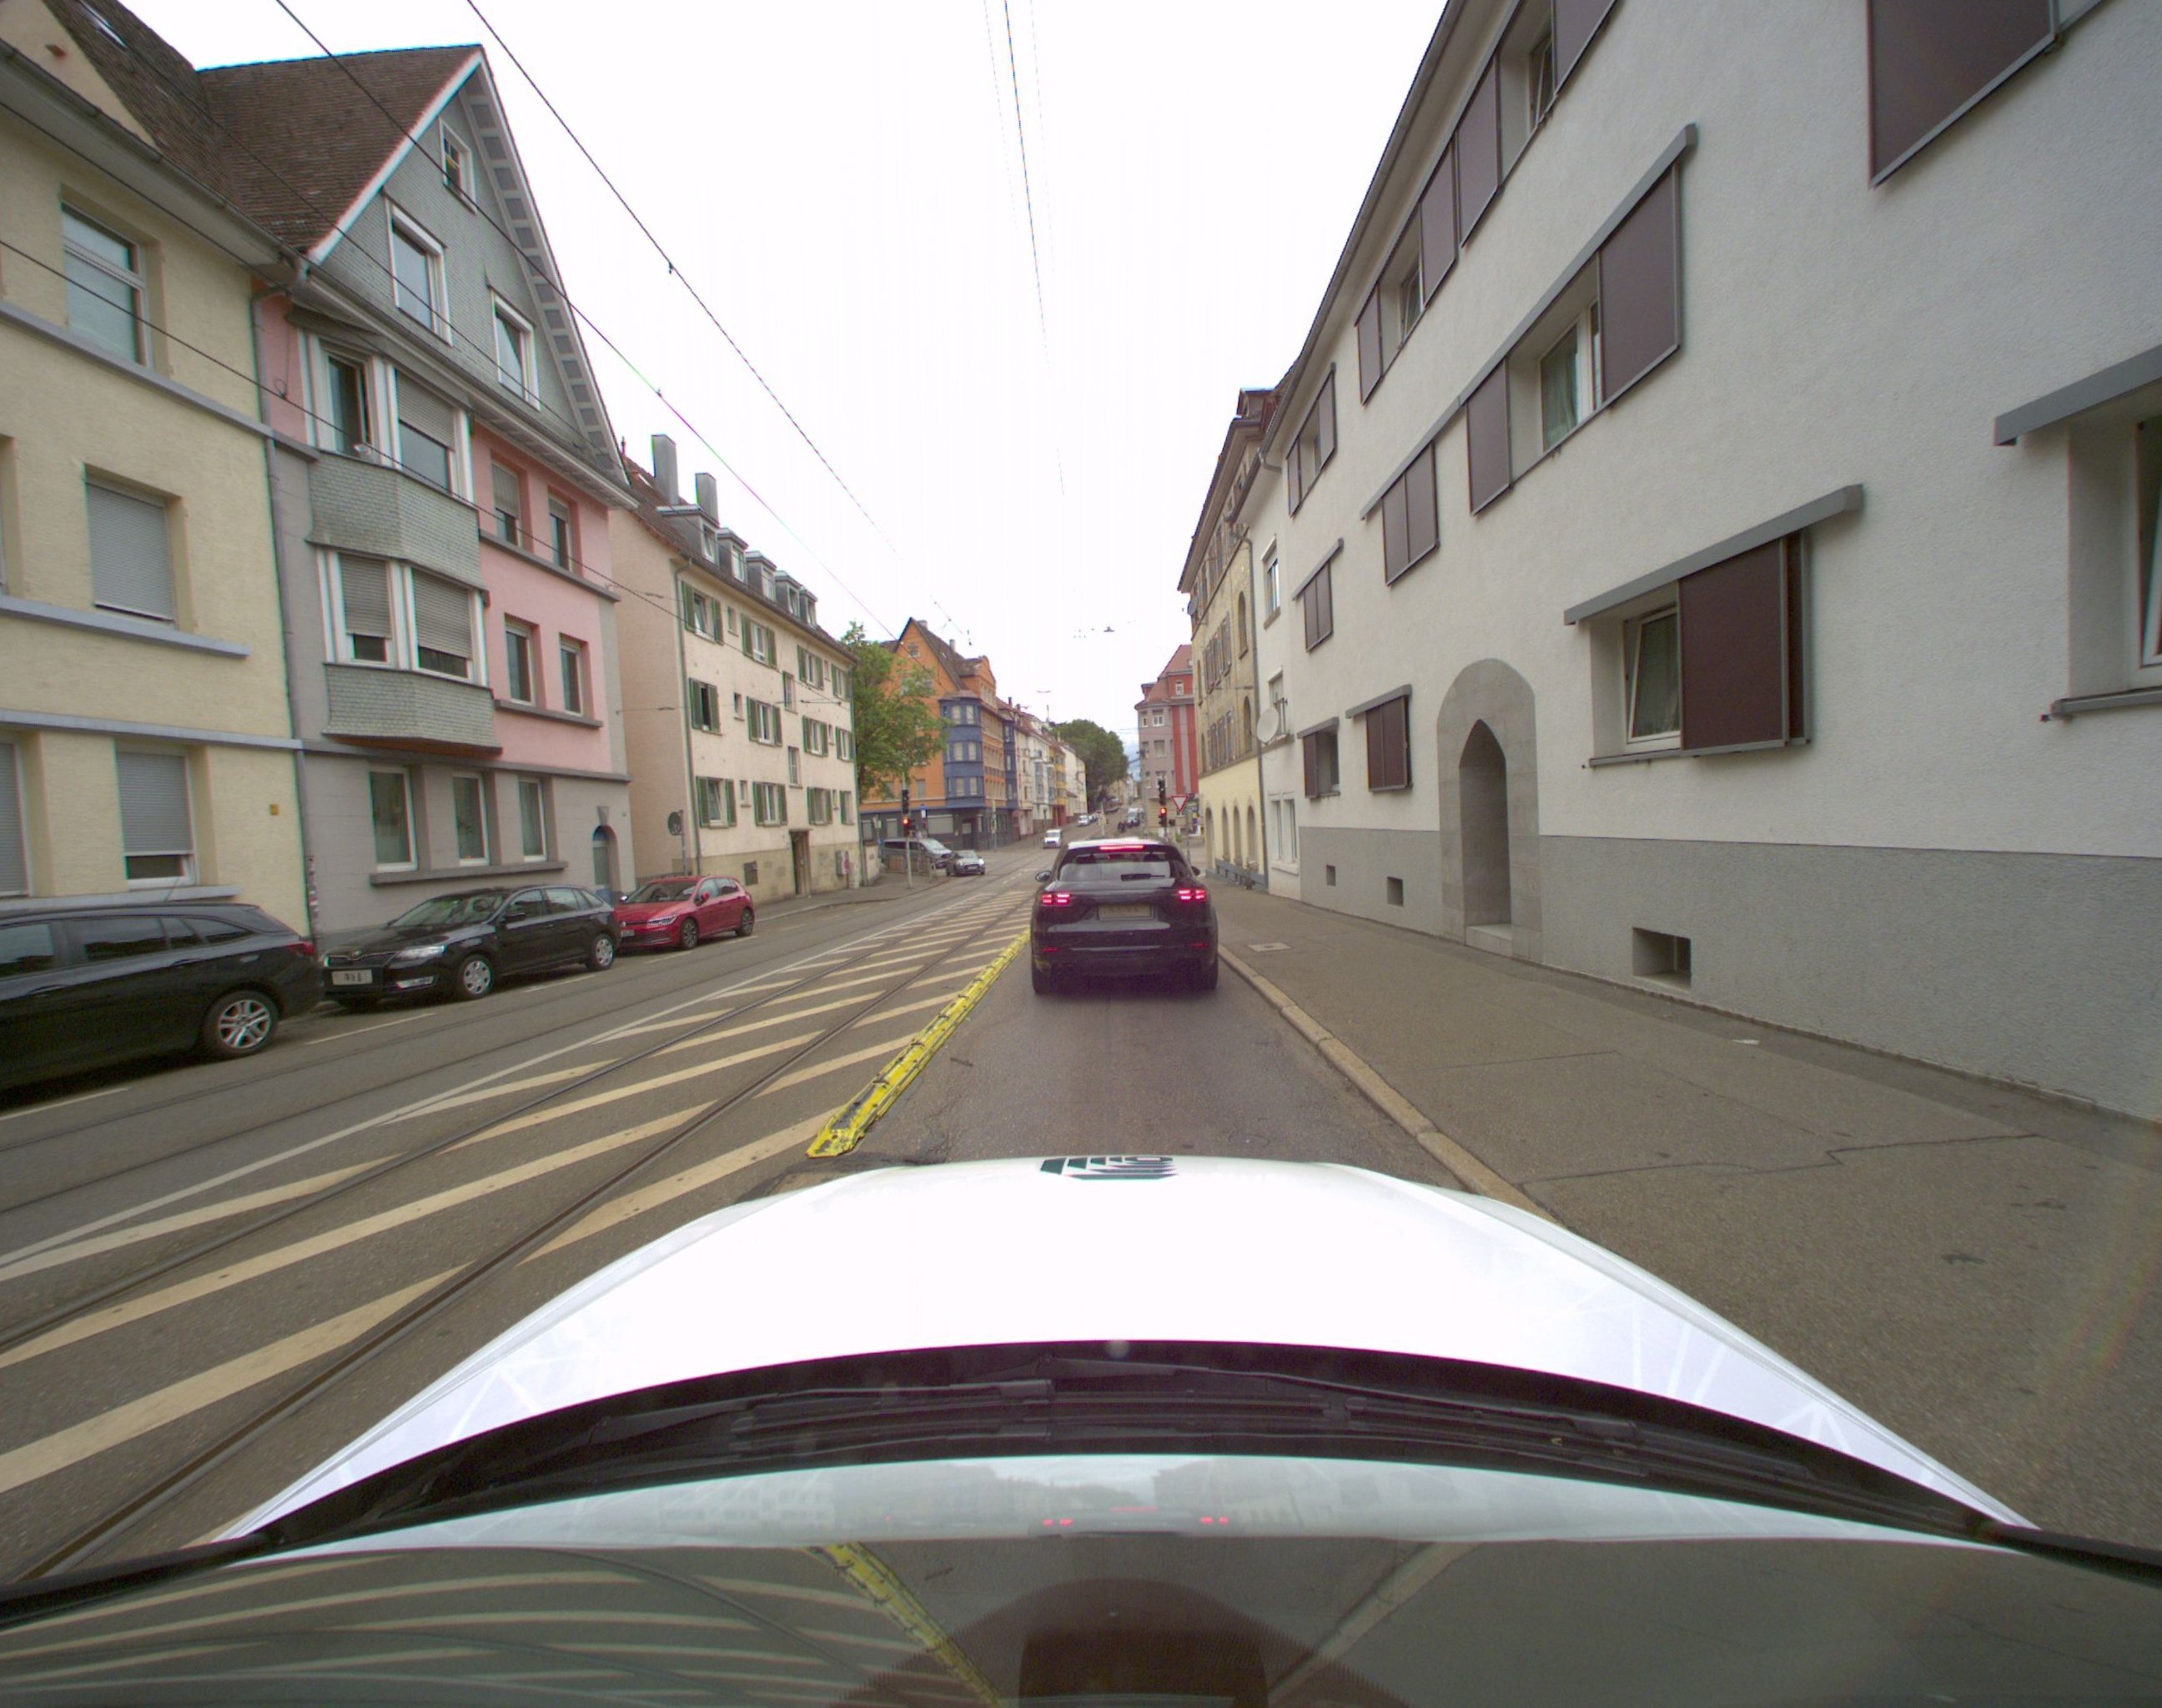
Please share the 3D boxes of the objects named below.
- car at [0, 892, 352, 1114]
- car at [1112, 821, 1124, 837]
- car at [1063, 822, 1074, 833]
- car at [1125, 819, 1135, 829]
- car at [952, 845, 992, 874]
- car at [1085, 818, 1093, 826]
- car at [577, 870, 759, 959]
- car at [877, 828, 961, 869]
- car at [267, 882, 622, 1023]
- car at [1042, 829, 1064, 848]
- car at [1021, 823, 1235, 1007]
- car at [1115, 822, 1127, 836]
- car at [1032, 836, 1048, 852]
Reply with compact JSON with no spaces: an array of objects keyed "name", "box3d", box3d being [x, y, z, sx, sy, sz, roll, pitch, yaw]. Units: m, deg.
[{"name":"car","box3d":[-8.548,1.171,6.249,1.614,1.473,4.558,-4,0,2]},{"name":"car","box3d":[4.399,-2.962,96.997,1.389,1.722,3.361,-3,0,2]},{"name":"car","box3d":[-1.904,-4.140,126.923,1.389,1.450,3.361,-3,0,2]},{"name":"car","box3d":[7.729,-4.735,128.985,1.389,1.450,3.361,-3,0,2]},{"name":"car","box3d":[-6.191,0.303,46.728,1.627,1.508,3.542,-3,0,2]},{"name":"car","box3d":[1.535,-6.067,154.913,1.389,1.450,3.361,-3,0,2]},{"name":"car","box3d":[-8.384,1.149,16.963,1.615,1.490,4.047,-4,0,0]},{"name":"car","box3d":[-11.160,-0.356,56.113,5.241,2.243,2.009,-1,-16,25]},{"name":"car","box3d":[-8.564,1.225,11.515,1.729,1.410,4.002,-3,0,2]},{"name":"car","box3d":[-2.794,-1.504,81.710,1.744,1.759,4.256,-3,0,2]},{"name":"car","box3d":[0.501,0.578,9.852,1.986,1.676,4.001,-3,0,1]},{"name":"car","box3d":[5.114,-3.173,103.943,1.389,1.722,3.361,-3,0,2]},{"name":"car","box3d":[-4.594,-1.099,90.843,1.389,1.722,3.361,-3,0,2]}]
